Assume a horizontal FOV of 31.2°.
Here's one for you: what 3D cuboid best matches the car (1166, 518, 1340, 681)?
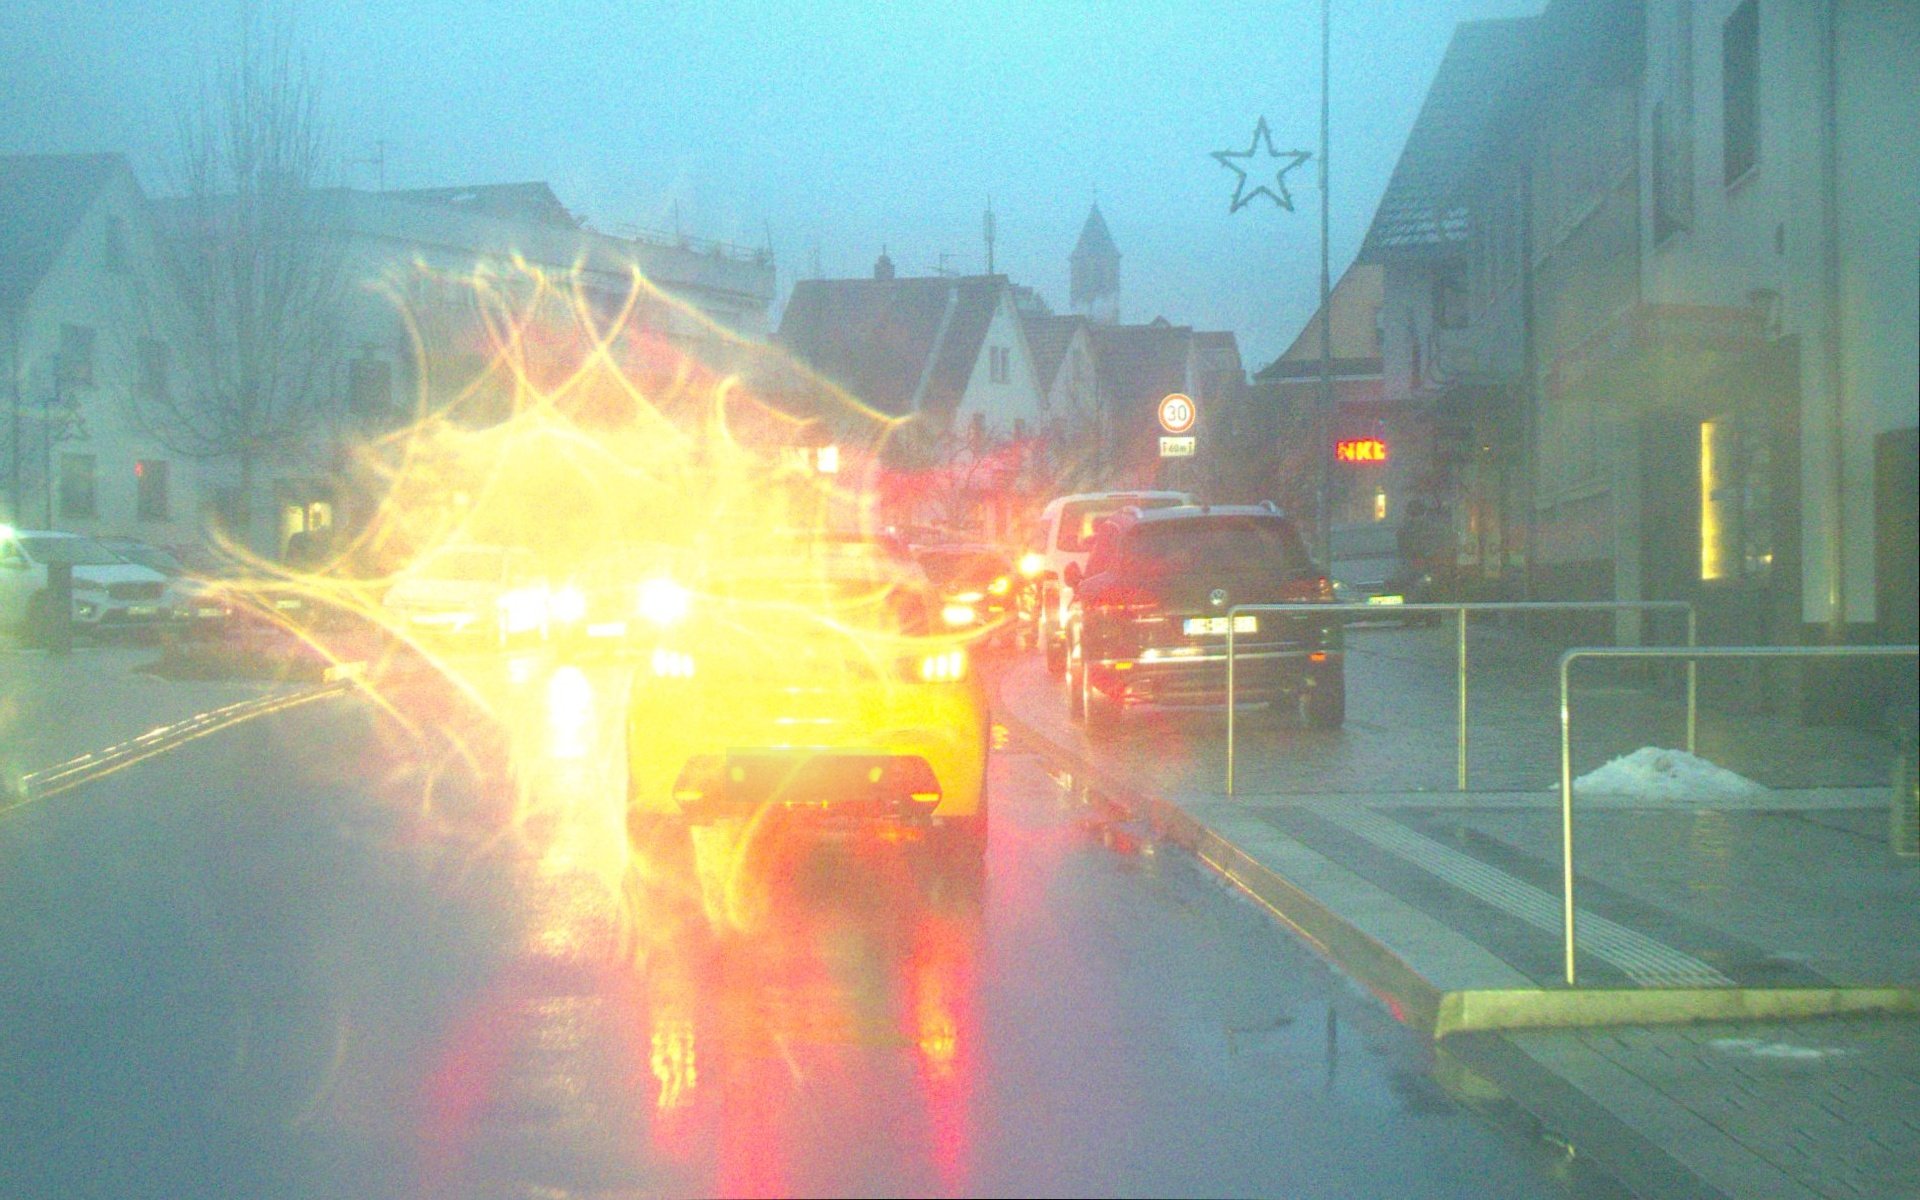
[{"bbox_3d":[3.852,0.044,45.826,1.870,1.992,4.443,1,-2,0],"label":"car"}]

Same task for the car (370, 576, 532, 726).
[{"bbox_3d":[-7.260,0.755,49.363,1.919,2.021,3.975,1,-2,-3],"label":"car"}]

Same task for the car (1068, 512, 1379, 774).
[{"bbox_3d":[1.953,0.311,26.682,1.997,1.858,4.083,1,0,-1],"label":"car"}]

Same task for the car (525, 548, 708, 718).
[{"bbox_3d":[-4.488,0.480,45.490,1.993,2.105,4.000,1,-2,0],"label":"car"}]

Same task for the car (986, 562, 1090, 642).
[{"bbox_3d":[1.639,0.051,71.295,1.488,1.521,3.412,1,-2,13],"label":"car"}]

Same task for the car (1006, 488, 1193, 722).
[{"bbox_3d":[1.528,0.117,39.103,1.870,2.461,4.443,1,-2,0],"label":"car"}]

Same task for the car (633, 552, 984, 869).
[{"bbox_3d":[-0.729,0.489,17.155,1.563,1.408,3.018,1,1,-2],"label":"car"}]

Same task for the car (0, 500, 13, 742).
[{"bbox_3d":[-9.961,0.060,25.571,5.399,1.811,1.711,2,0,12],"label":"car"}]

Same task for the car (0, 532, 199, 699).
[{"bbox_3d":[-13.071,0.238,49.310,4.382,2.244,1.995,0,-2,43],"label":"car"}]

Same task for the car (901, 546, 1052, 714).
[{"bbox_3d":[0.211,0.464,48.731,1.993,2.244,4.000,1,-2,0],"label":"car"}]

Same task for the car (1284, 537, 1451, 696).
[{"bbox_3d":[6.073,0.296,51.662,1.993,2.241,4.000,1,-2,0],"label":"car"}]

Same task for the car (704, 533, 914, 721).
[{"bbox_3d":[-1.365,0.218,32.319,1.766,1.623,3.586,1,1,0],"label":"car"}]

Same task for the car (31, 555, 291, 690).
[{"bbox_3d":[-12.337,0.353,52.940,4.166,1.969,1.818,0,-2,43],"label":"car"}]

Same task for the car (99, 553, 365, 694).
[{"bbox_3d":[-11.837,0.393,55.786,4.382,2.159,1.995,0,-2,43],"label":"car"}]
